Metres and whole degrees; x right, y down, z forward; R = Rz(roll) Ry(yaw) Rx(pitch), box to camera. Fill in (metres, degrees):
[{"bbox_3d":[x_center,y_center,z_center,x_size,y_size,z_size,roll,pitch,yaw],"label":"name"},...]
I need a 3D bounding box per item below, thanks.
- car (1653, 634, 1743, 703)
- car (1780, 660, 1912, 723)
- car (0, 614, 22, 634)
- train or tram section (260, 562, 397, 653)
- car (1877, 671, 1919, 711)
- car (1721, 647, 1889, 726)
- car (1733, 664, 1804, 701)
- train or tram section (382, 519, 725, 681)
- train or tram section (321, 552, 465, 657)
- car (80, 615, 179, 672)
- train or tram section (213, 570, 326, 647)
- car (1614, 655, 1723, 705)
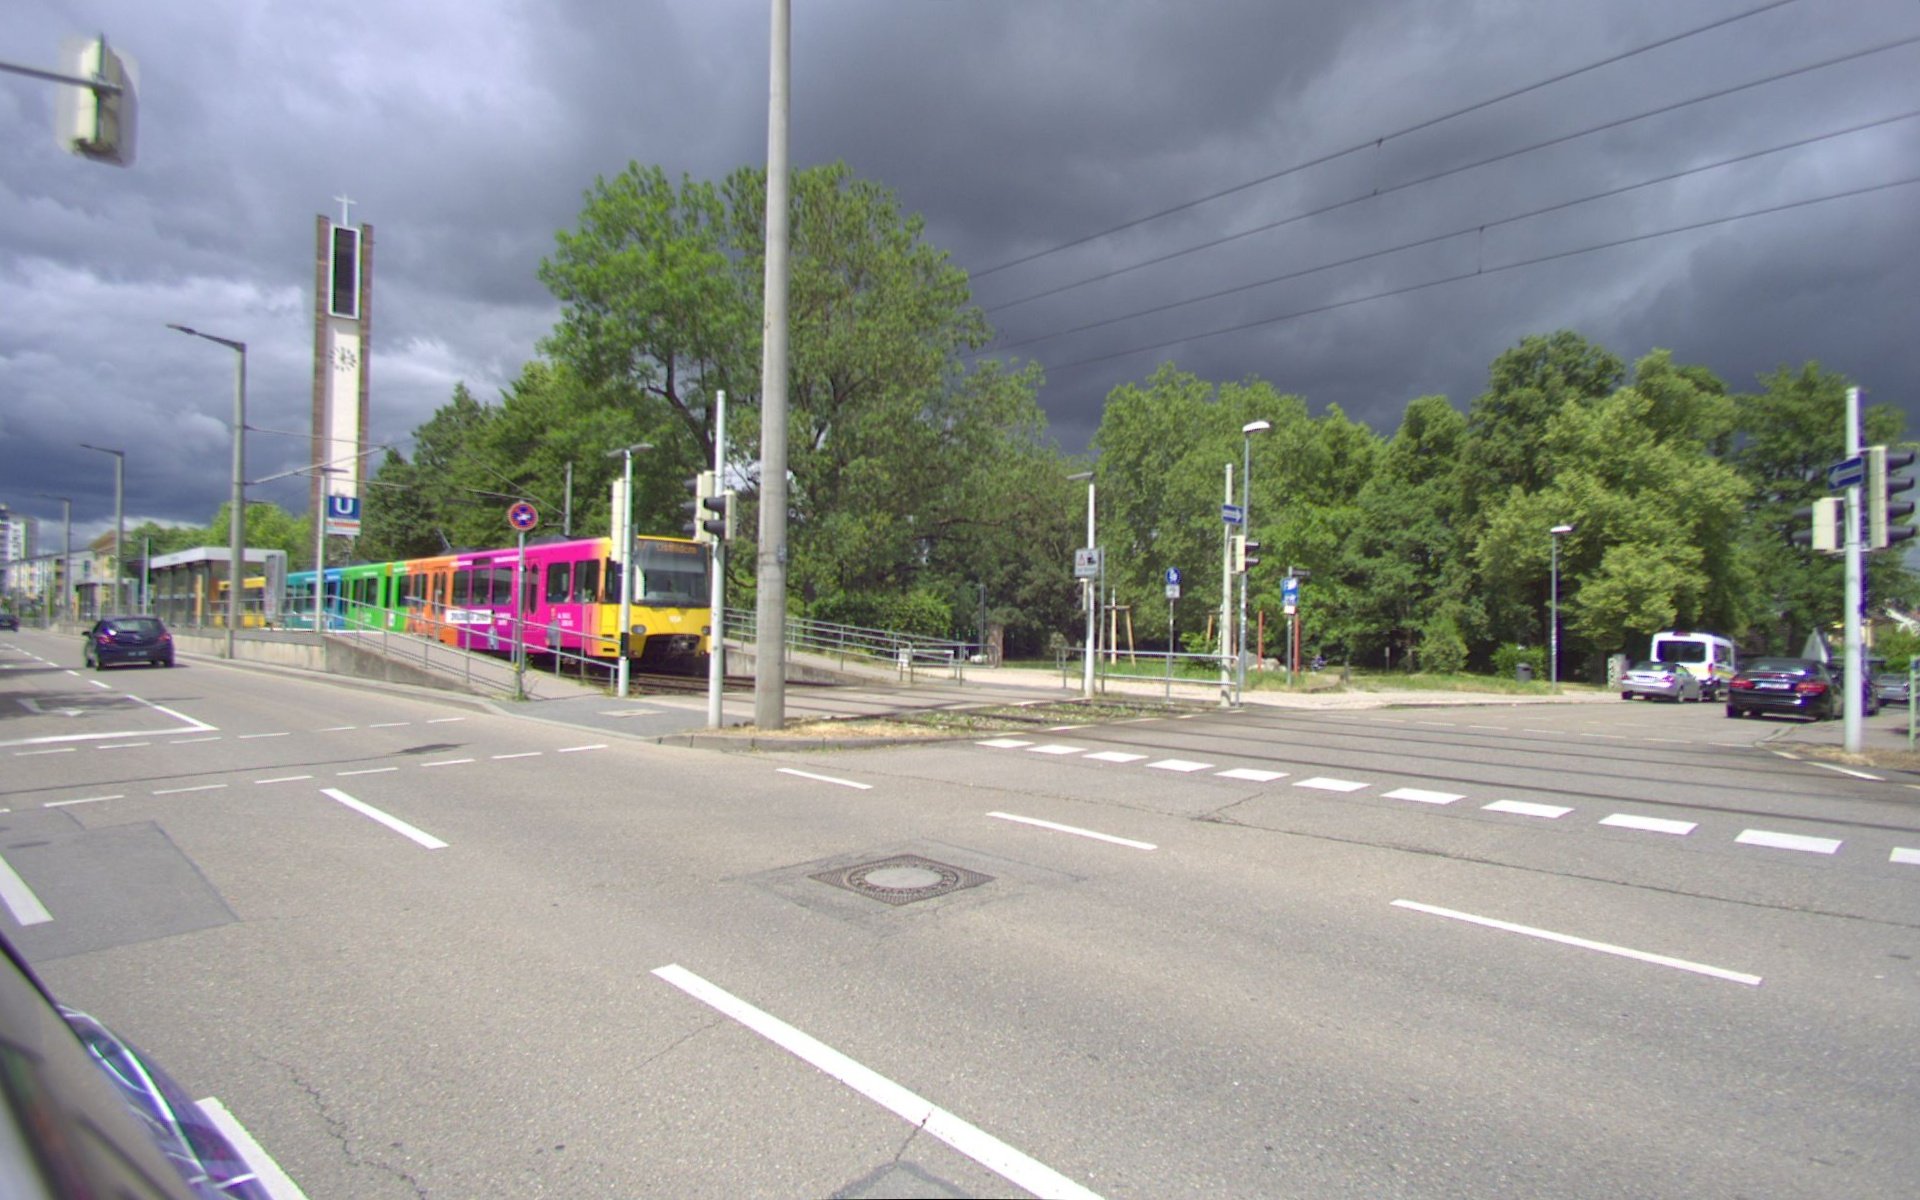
[{"bbox_3d":[28.196,2.625,38.605,3.939,2.375,2.002,7,-5,-42],"label":"car"},{"bbox_3d":[24.544,2.539,27.998,3.935,1.477,2.004,6,-4,-37],"label":"car"},{"bbox_3d":[-81.842,2.043,86.979,1.731,1.624,4.230,1,-1,-44],"label":"car"},{"bbox_3d":[-30.508,0.370,48.564,11.791,3.892,2.947,-1,0,45],"label":"train or tram section"},{"bbox_3d":[38.549,3.716,40.787,3.939,1.477,2.002,7,-4,-42],"label":"car"},{"bbox_3d":[18.600,1.913,22.236,3.935,1.477,2.004,6,-4,-37],"label":"car"},{"bbox_3d":[37.581,3.821,47.016,3.939,1.477,2.002,7,-4,-42],"label":"car"},{"bbox_3d":[-13.769,0.074,31.969,18.546,3.892,2.947,-1,0,45],"label":"train or tram section"},{"bbox_3d":[-23.363,0.190,41.453,8.382,3.892,2.947,-1,0,45],"label":"train or tram section"},{"bbox_3d":[-23.394,1.166,28.451,4.010,1.452,1.698,0,-1,44],"label":"car"},{"bbox_3d":[-39.046,0.473,56.962,12.206,3.892,2.947,-1,0,45],"label":"train or tram section"},{"bbox_3d":[24.739,2.810,35.326,3.935,1.477,2.004,6,-4,-37],"label":"car"}]
